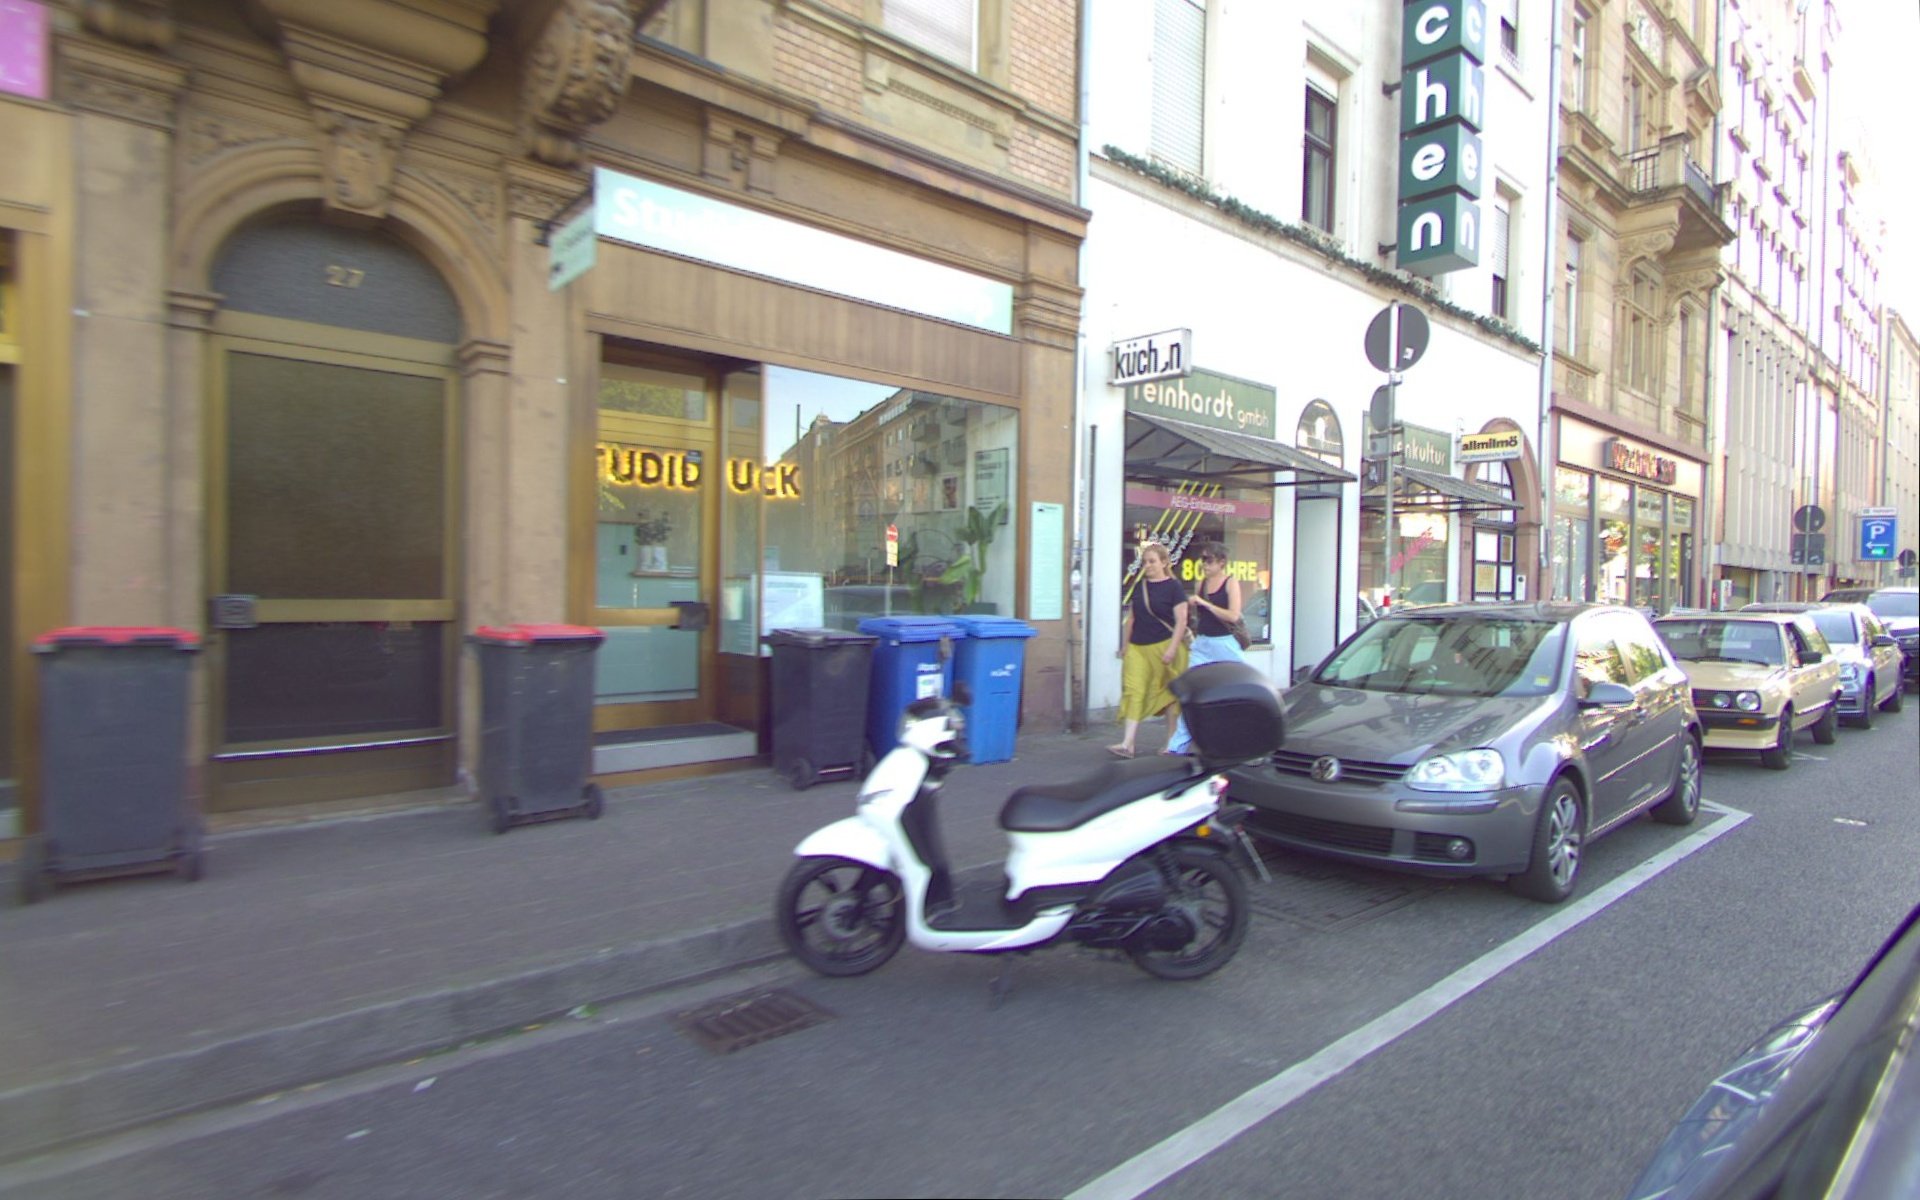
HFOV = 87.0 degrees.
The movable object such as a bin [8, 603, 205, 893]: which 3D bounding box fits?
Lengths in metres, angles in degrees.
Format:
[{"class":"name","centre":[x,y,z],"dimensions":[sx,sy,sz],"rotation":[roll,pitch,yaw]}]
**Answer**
[{"class":"movable object such as a bin","centre":[-3.693,0.580,4.406],"dimensions":[0.608,1.084,0.716],"rotation":[0,3,-40]}]

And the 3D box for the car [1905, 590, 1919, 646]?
[{"class":"car","centre":[29.857,0.520,30.289],"dimensions":[3.978,1.624,1.894],"rotation":[0,1,-41]}]

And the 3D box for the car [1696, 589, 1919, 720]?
[{"class":"car","centre":[11.060,0.589,13.055],"dimensions":[3.735,1.435,1.736],"rotation":[0,1,-41]}]

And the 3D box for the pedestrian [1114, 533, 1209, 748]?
[{"class":"pedestrian","centre":[1.595,0.307,8.077],"dimensions":[0.607,1.653,0.463],"rotation":[2,2,2]}]

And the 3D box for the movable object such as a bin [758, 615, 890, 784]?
[{"class":"movable object such as a bin","centre":[-0.909,0.630,6.735],"dimensions":[0.608,1.004,0.606],"rotation":[0,3,-40]}]

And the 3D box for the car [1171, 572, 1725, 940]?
[{"class":"car","centre":[3.229,0.629,6.265],"dimensions":[4.095,1.537,1.735],"rotation":[0,1,-43]}]

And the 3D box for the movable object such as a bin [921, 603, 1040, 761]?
[{"class":"movable object such as a bin","centre":[0.150,0.583,7.633],"dimensions":[0.608,1.086,0.606],"rotation":[0,3,-40]}]

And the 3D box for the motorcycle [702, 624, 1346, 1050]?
[{"class":"motorcycle","centre":[0.218,0.766,3.794],"dimensions":[2.137,1.295,0.866],"rotation":[0,0,8]}]

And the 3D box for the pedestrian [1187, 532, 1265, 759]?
[{"class":"pedestrian","centre":[1.984,0.327,7.587],"dimensions":[0.506,1.653,0.414],"rotation":[0,0,8]}]

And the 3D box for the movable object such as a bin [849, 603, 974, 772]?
[{"class":"movable object such as a bin","centre":[-0.347,0.589,7.197],"dimensions":[0.608,1.086,0.606],"rotation":[0,3,-40]}]

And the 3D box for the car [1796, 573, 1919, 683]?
[{"class":"car","centre":[15.965,0.416,17.346],"dimensions":[3.978,1.711,1.894],"rotation":[0,1,-41]}]

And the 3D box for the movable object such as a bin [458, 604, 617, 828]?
[{"class":"movable object such as a bin","centre":[-2.334,0.589,5.570],"dimensions":[0.608,1.084,0.716],"rotation":[0,3,-40]}]

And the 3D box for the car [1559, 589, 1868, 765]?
[{"class":"car","centre":[7.685,0.617,10.209],"dimensions":[3.735,1.435,1.736],"rotation":[0,1,-41]}]
